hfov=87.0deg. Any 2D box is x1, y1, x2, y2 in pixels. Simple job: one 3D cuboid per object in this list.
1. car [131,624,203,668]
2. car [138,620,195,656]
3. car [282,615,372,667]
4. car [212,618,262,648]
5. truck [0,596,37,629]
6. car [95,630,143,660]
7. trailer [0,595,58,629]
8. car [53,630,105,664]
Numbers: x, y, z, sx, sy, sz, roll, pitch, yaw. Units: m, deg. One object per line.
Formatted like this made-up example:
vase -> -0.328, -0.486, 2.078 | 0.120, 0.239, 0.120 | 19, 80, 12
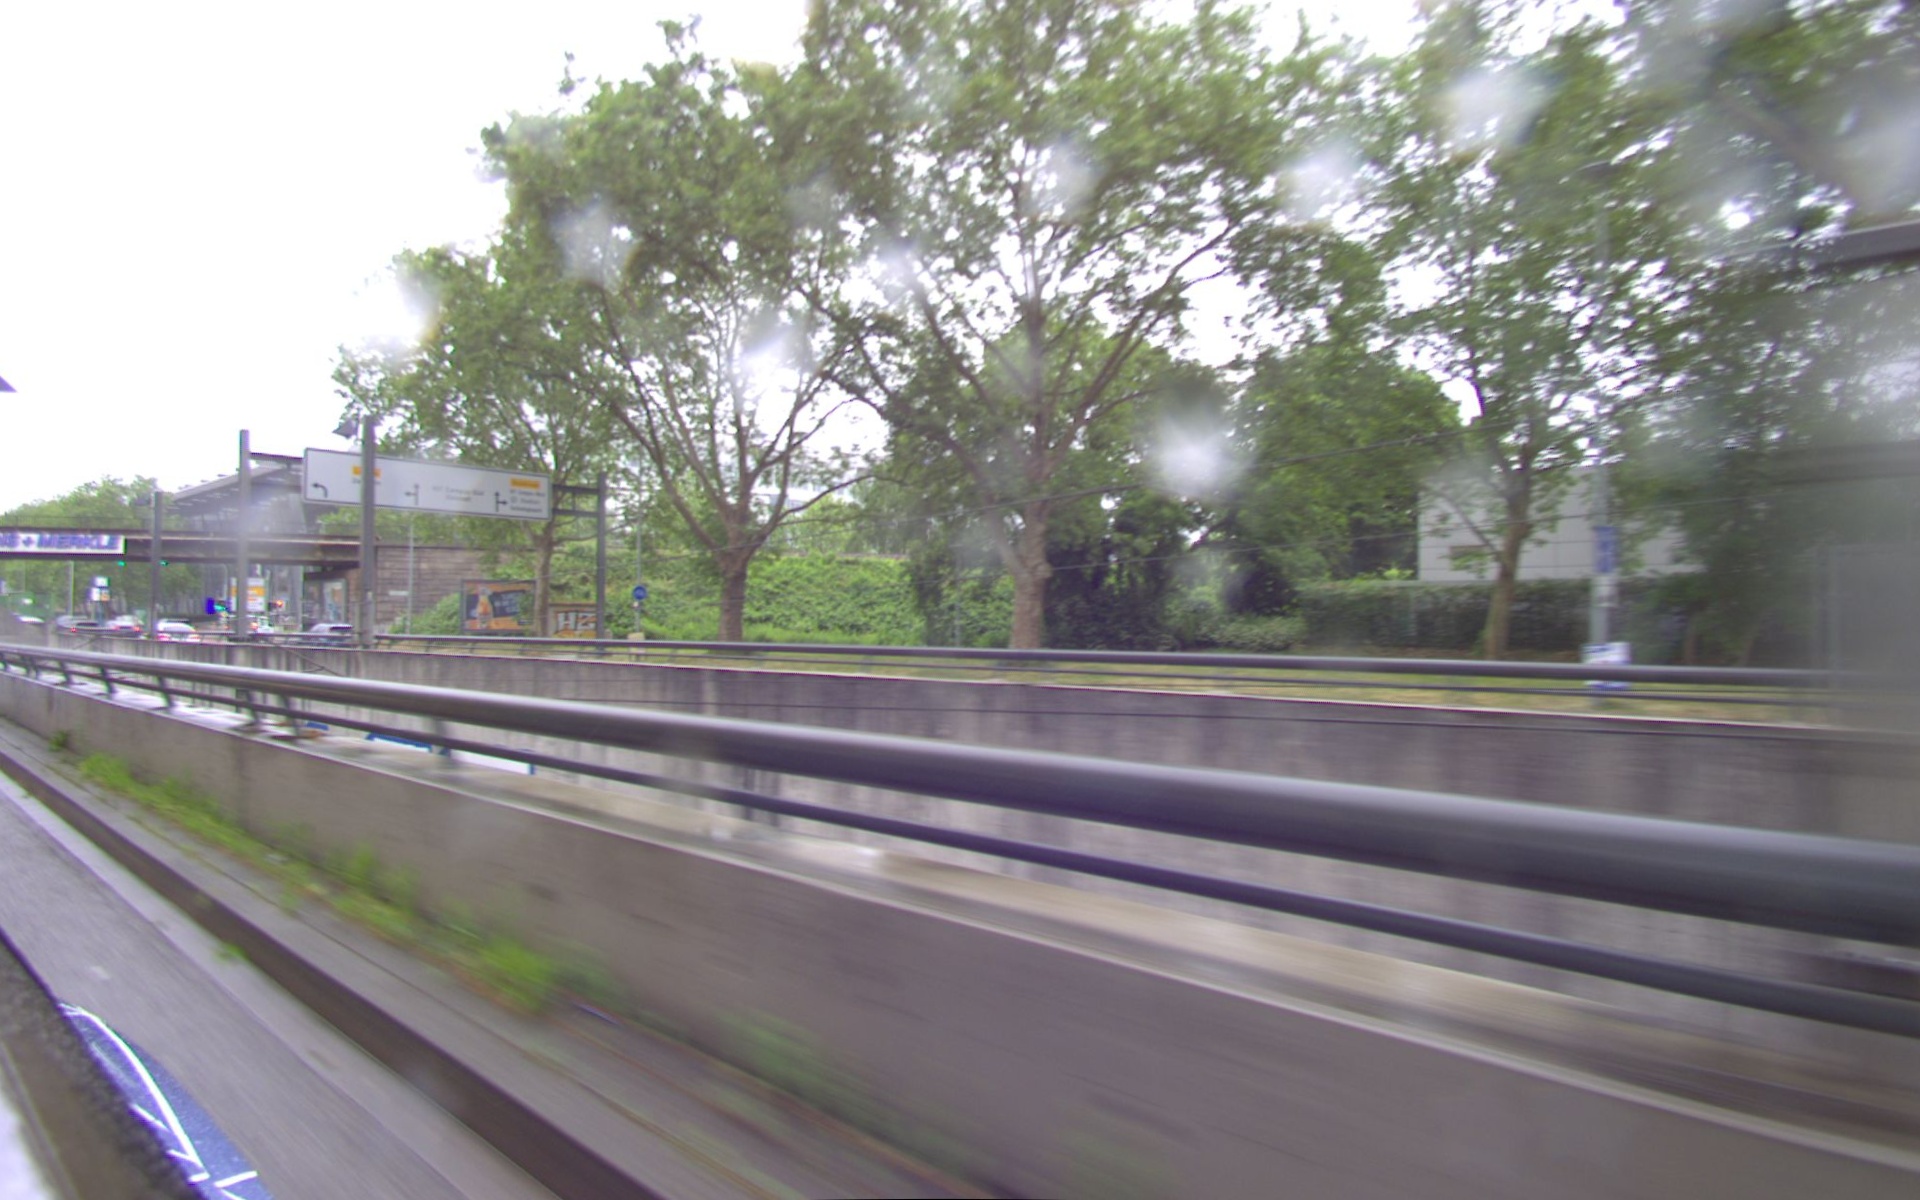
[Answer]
car -> -39.119, 2.210, 49.887 | 4.613, 2.029, 1.973 | -1, 0, 41
car -> -48.460, 2.282, 61.788 | 3.998, 2.029, 1.973 | -1, 0, 41
car -> -26.884, 1.697, 42.939 | 4.508, 2.029, 1.973 | -1, 0, 41
car -> -51.641, 2.314, 72.300 | 4.194, 2.029, 1.973 | -1, 0, 41
truck -> -100.078, 1.332, 106.386 | 6.512, 3.334, 3.345 | -1, 0, 36
car -> -60.916, 3.198, 73.273 | 4.508, 2.029, 1.973 | -1, 0, 41
trailer -> -95.141, 1.235, 102.646 | 11.102, 3.284, 3.292 | -1, 0, 37
car -> -56.790, 3.026, 65.251 | 3.998, 2.029, 1.973 | -1, 0, 41
